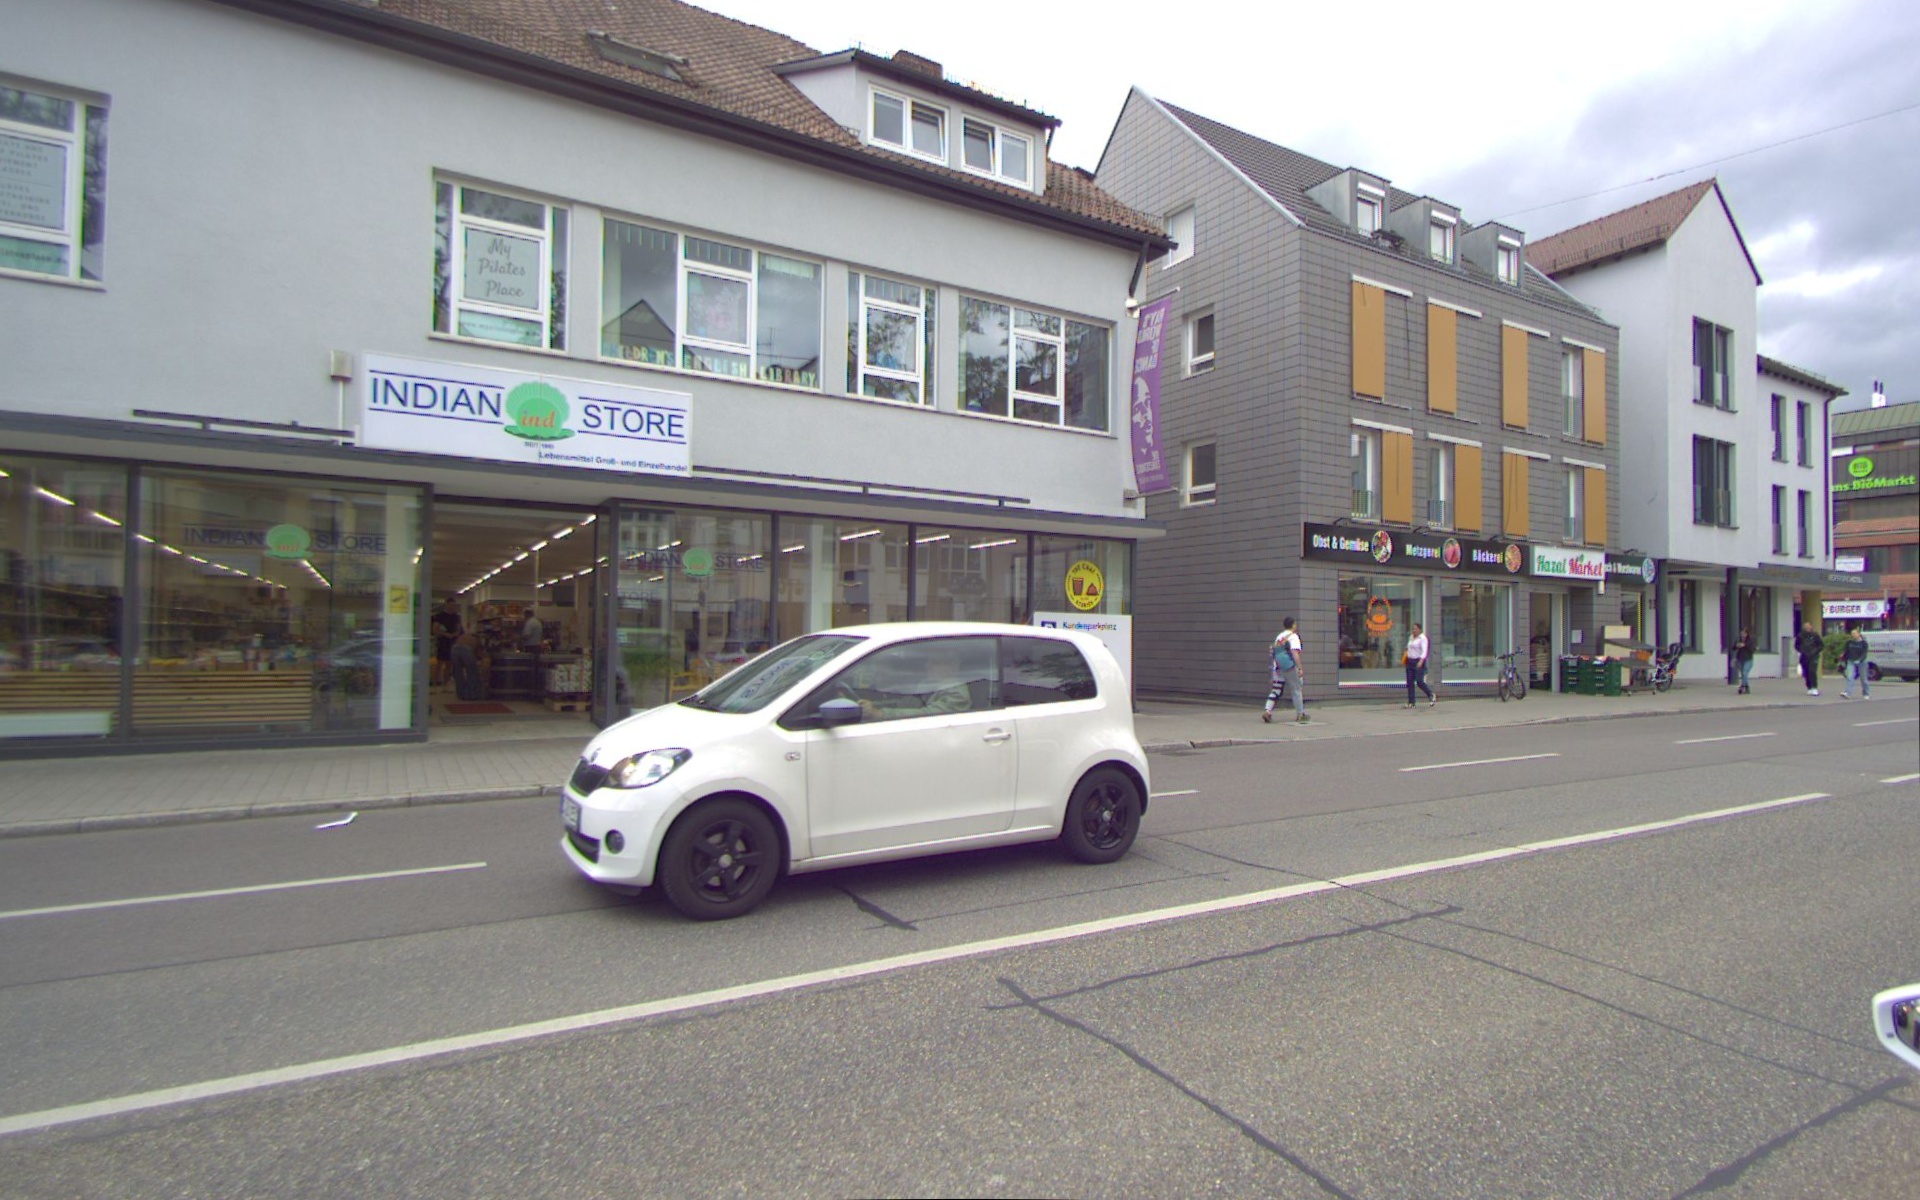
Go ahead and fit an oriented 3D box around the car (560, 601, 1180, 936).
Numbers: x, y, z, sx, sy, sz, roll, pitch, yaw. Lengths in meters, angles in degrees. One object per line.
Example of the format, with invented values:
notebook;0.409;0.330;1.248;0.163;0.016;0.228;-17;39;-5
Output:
car;-0.480;0.821;6.101;3.424;1.508;1.566;1;-3;-31

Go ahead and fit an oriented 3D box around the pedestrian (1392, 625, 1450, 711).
pedestrian;8.954;1.304;19.525;0.744;1.631;0.725;1;-2;-30

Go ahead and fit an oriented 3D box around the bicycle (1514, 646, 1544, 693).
bicycle;14.454;1.762;25.542;0.380;1.142;1.290;0;-2;16

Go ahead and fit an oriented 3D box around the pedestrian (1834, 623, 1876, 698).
pedestrian;22.005;1.478;24.709;0.643;1.814;0.676;1;-2;-40

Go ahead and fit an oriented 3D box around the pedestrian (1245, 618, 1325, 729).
pedestrian;5.337;1.176;16.492;0.969;1.728;0.750;1;1;-30

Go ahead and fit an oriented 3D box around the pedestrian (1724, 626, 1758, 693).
pedestrian;19.790;1.497;25.458;0.643;1.672;0.557;-1;-2;37

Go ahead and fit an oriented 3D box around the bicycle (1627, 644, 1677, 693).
bicycle;17.382;1.698;25.215;1.806;1.201;0.384;1;-2;-33

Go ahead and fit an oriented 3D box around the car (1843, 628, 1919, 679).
car;37.003;2.012;38.149;1.963;1.913;5.154;0;-3;-7

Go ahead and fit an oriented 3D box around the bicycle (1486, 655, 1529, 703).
bicycle;11.708;1.679;21.480;1.472;0.966;0.323;2;-2;-41

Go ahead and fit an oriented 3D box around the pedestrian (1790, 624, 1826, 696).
pedestrian;21.780;1.529;25.802;0.641;1.799;0.565;1;-2;-36

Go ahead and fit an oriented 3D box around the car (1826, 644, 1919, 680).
car;39.826;2.639;43.034;1.664;1.407;3.814;1;-2;-29
